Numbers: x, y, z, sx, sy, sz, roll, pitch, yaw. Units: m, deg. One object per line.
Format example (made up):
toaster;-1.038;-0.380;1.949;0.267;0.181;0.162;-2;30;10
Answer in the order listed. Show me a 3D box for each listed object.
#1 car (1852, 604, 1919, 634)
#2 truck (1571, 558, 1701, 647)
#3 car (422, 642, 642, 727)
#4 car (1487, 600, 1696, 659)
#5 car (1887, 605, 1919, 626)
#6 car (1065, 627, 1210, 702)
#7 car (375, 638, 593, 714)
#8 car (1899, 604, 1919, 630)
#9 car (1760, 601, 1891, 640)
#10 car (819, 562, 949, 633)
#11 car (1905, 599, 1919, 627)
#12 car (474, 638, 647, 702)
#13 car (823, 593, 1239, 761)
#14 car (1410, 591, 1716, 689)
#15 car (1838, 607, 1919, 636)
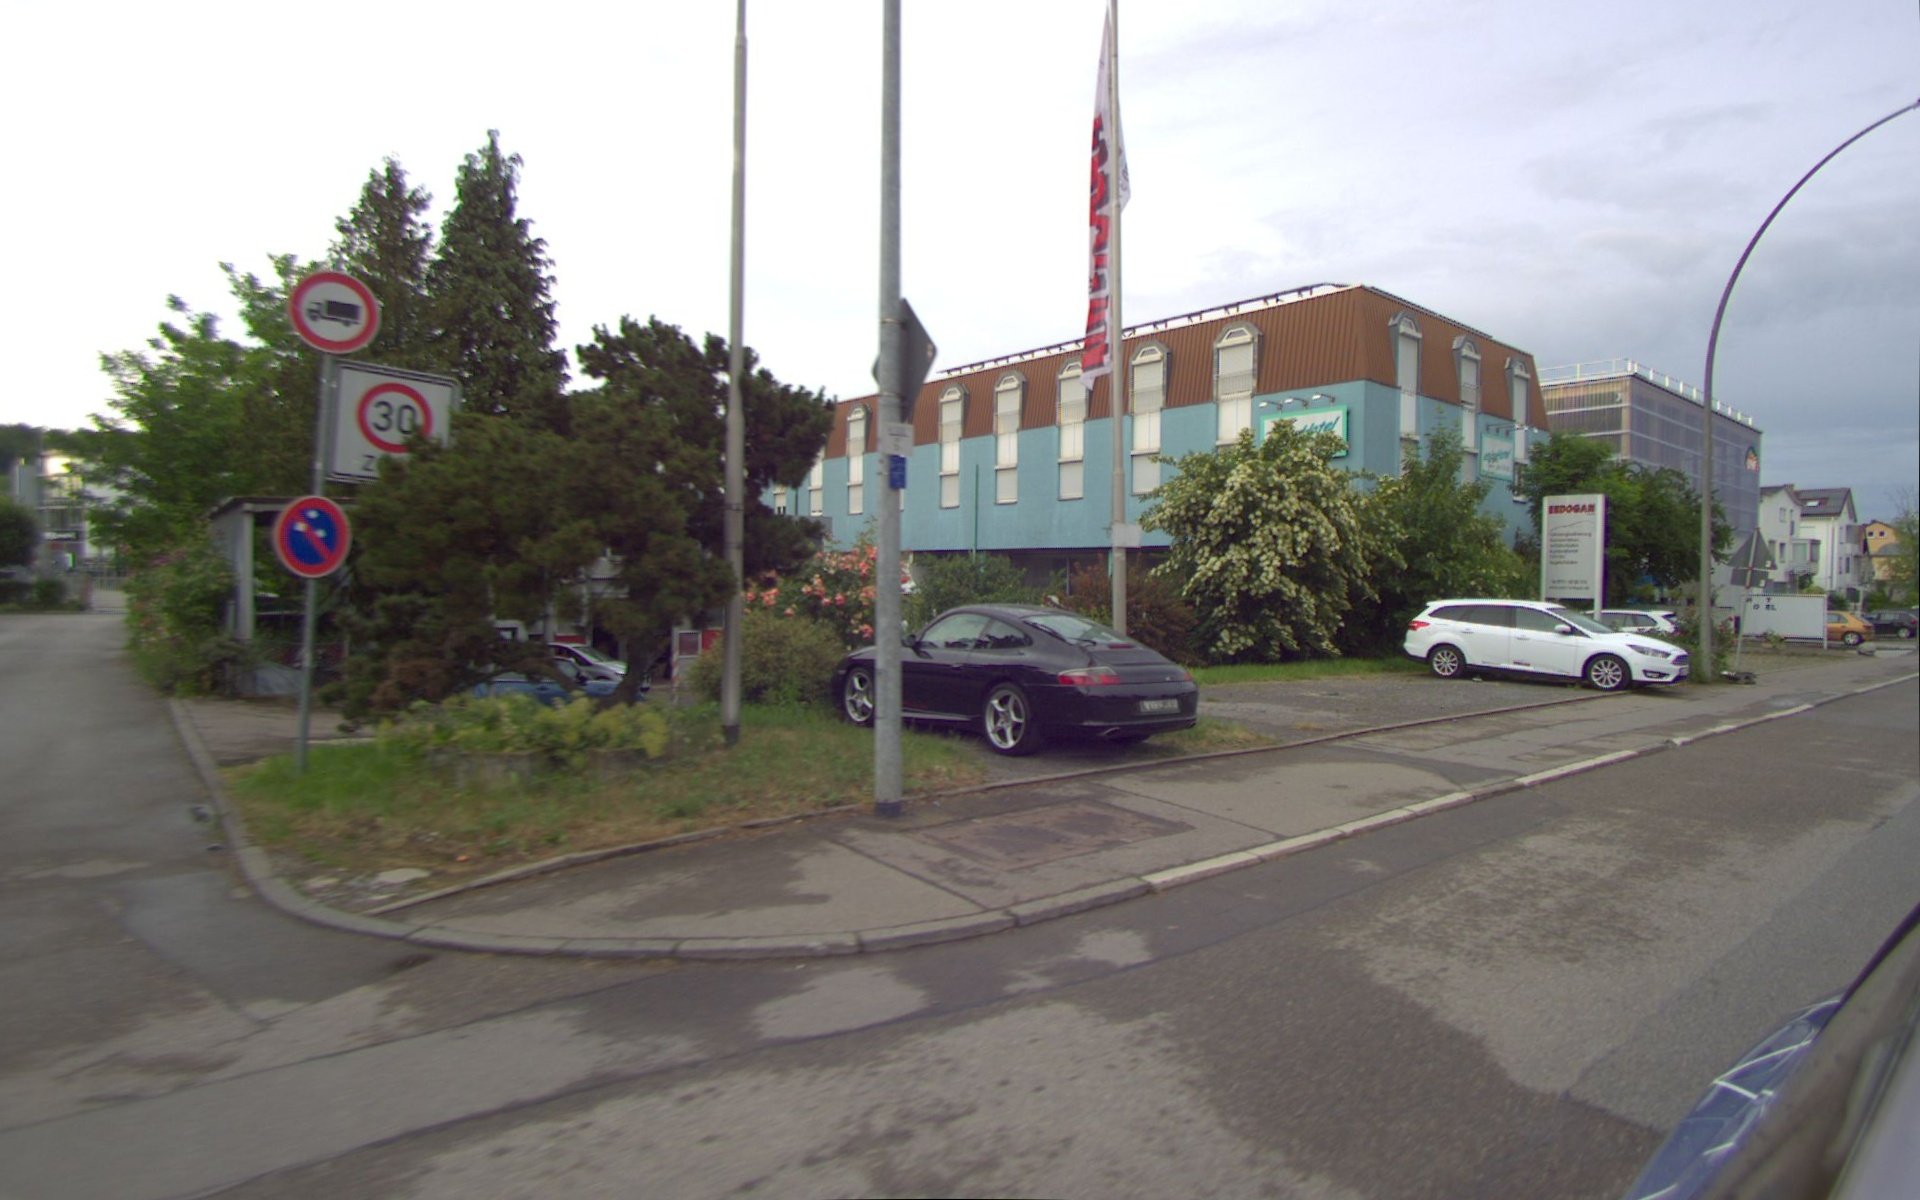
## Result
car;54.616;1.096;58.611;1.946;1.696;4.234;0;0;-40
truck;29.914;0.174;44.847;2.674;3.721;4.148;0;-2;-42
car;-7.967;1.512;19.027;1.584;1.282;3.502;0;0;43
car;16.743;0.722;27.022;1.847;1.410;4.421;1;0;-42
car;64.996;1.042;67.599;1.818;1.396;4.328;0;0;-40
car;4.543;1.564;25.661;3.593;1.605;1.802;0;1;-42
car;-9.821;1.504;21.067;1.810;1.250;3.737;0;0;41
car;63.501;1.103;65.053;1.860;1.645;4.453;0;0;-40
car;36.427;0.829;42.670;1.602;1.448;3.994;0;1;-41
car;-3.264;-0.128;42.260;2.407;2.744;5.937;0;0;-41
car;67.365;0.923;68.508;1.964;1.910;4.741;0;0;-39
car;-10.587;1.833;26.995;3.892;1.524;1.853;0;0;5
car;0.495;0.576;9.931;1.915;1.282;3.997;0;0;-38
car;10.623;0.607;18.094;1.869;1.494;4.346;0;1;-40
car;52.681;1.194;57.491;1.799;1.508;3.976;0;0;-38
